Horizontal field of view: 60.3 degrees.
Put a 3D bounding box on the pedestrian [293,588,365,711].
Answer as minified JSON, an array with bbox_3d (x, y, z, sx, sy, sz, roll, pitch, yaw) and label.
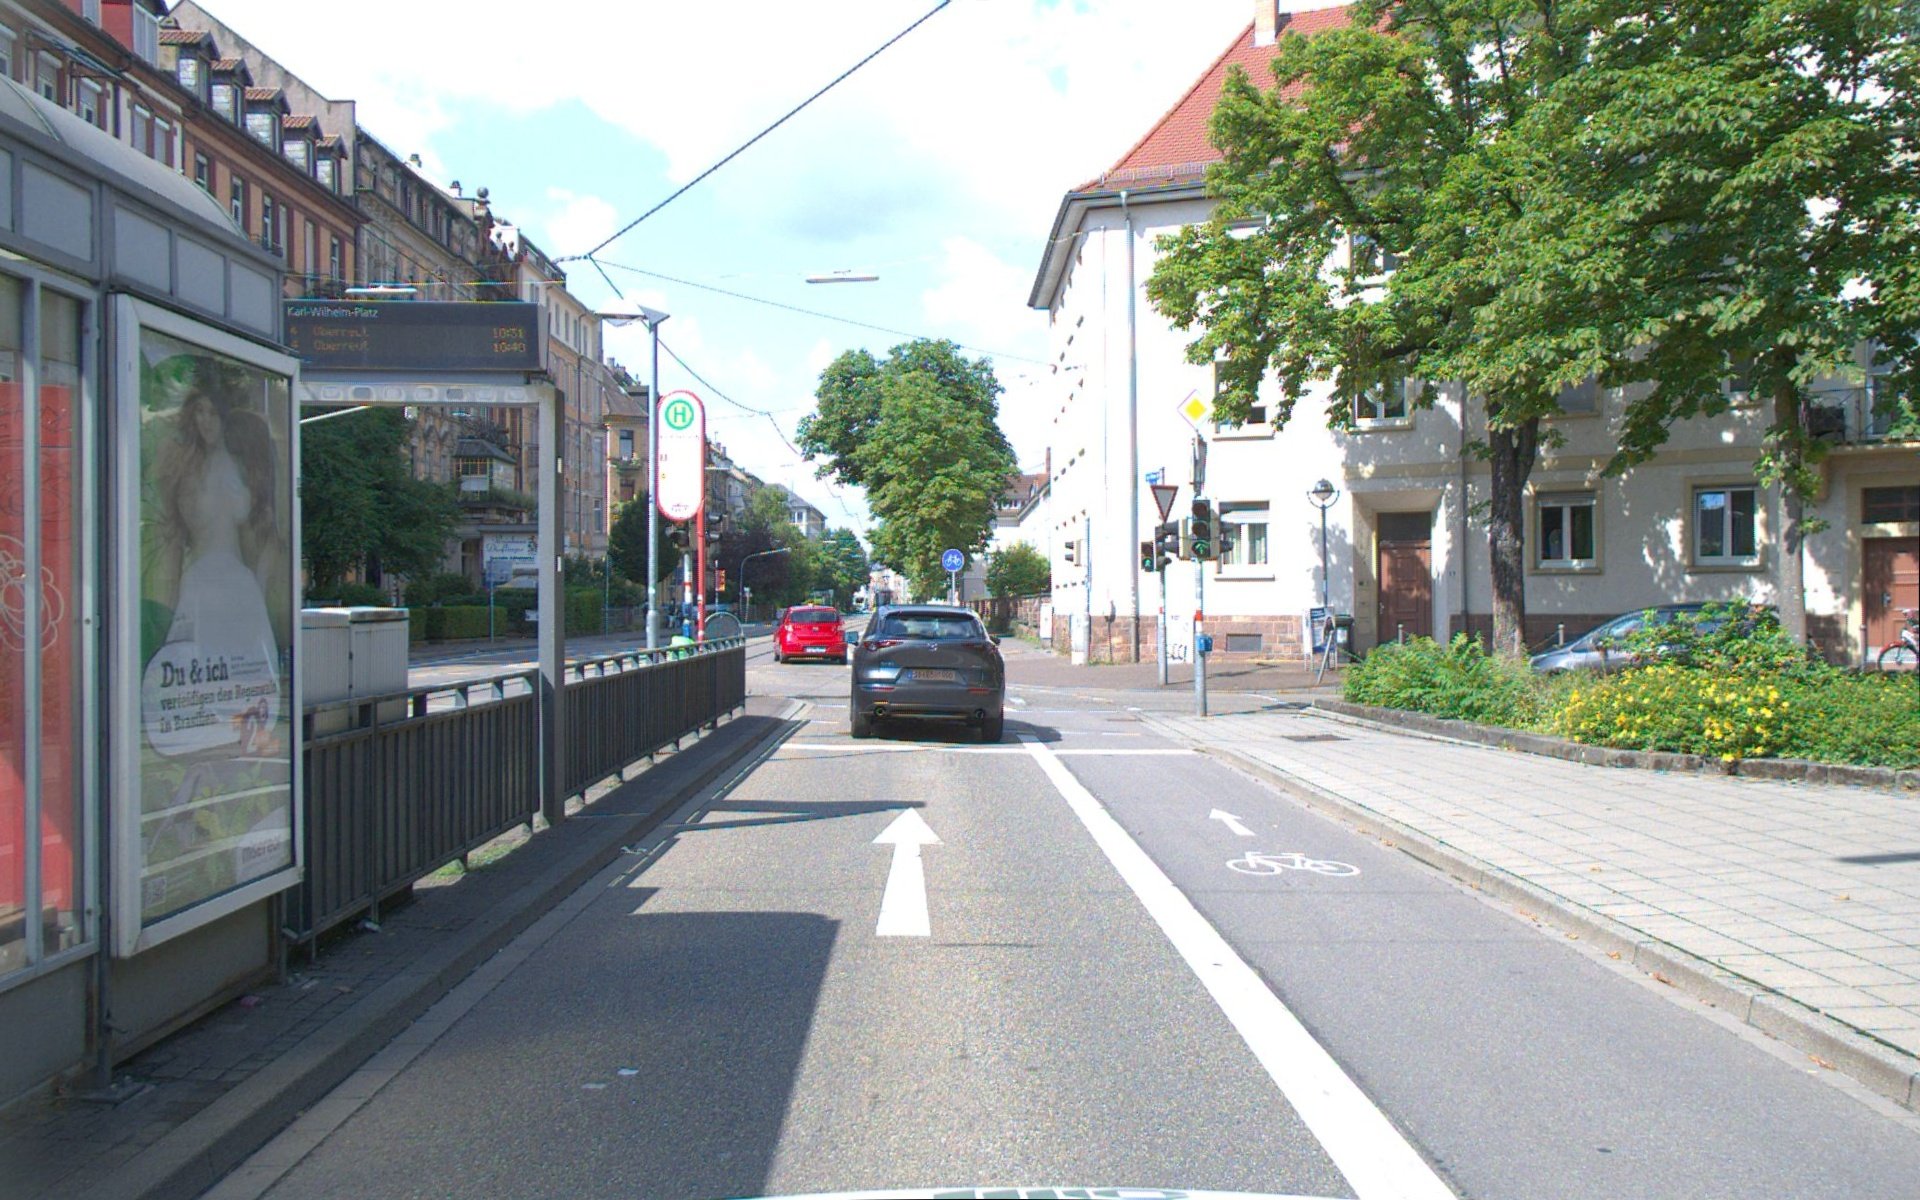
[{"bbox_3d":[-8.890,0.686,23.316,0.755,1.704,0.667,-1,0,-2],"label":"pedestrian"}]

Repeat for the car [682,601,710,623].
[{"bbox_3d":[-20.275,0.913,127.127,1.623,1.624,3.928,-1,0,-2],"label":"car"}]

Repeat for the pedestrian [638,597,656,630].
[{"bbox_3d":[-16.386,0.724,86.515,0.771,1.718,0.732,0,0,1],"label":"pedestrian"}]

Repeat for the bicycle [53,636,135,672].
[{"bbox_3d":[-19.857,1.237,37.959,0.378,0.760,1.705,-1,0,34],"label":"bicycle"}]

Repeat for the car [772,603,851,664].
[{"bbox_3d":[-3.939,0.838,43.429,1.743,1.489,3.834,1,0,-10],"label":"car"}]

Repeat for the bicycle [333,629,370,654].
[{"bbox_3d":[-17.855,1.215,48.557,0.377,0.689,1.712,0,0,3],"label":"bicycle"}]

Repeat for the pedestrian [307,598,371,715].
[{"bbox_3d":[-8.462,0.757,22.566,0.654,1.573,0.580,0,0,-2],"label":"pedestrian"}]

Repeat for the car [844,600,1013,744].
[{"bbox_3d":[-0.484,0.799,20.218,1.747,1.540,3.995,2,0,-5],"label":"car"}]

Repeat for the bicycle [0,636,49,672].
[{"bbox_3d":[-20.970,1.192,36.301,0.378,0.760,1.705,-1,0,34],"label":"bicycle"}]

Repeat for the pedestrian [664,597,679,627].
[{"bbox_3d":[-16.837,0.691,96.577,0.771,1.718,0.732,0,0,1],"label":"pedestrian"}]

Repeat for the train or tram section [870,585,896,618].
[{"bbox_3d":[-9.979,0.224,215.202,2.937,4.053,13.804,-1,-1,-1],"label":"train or tram section"}]

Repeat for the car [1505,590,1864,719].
[{"bbox_3d":[9.729,0.672,22.368,4.096,1.536,1.841,0,1,41],"label":"car"}]

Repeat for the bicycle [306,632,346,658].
[{"bbox_3d":[-17.762,1.256,46.351,0.377,0.664,1.712,0,0,3],"label":"bicycle"}]

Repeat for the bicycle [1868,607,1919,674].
[{"bbox_3d":[15.621,0.649,26.570,0.561,1.037,1.729,-3,1,-38],"label":"bicycle"}]
